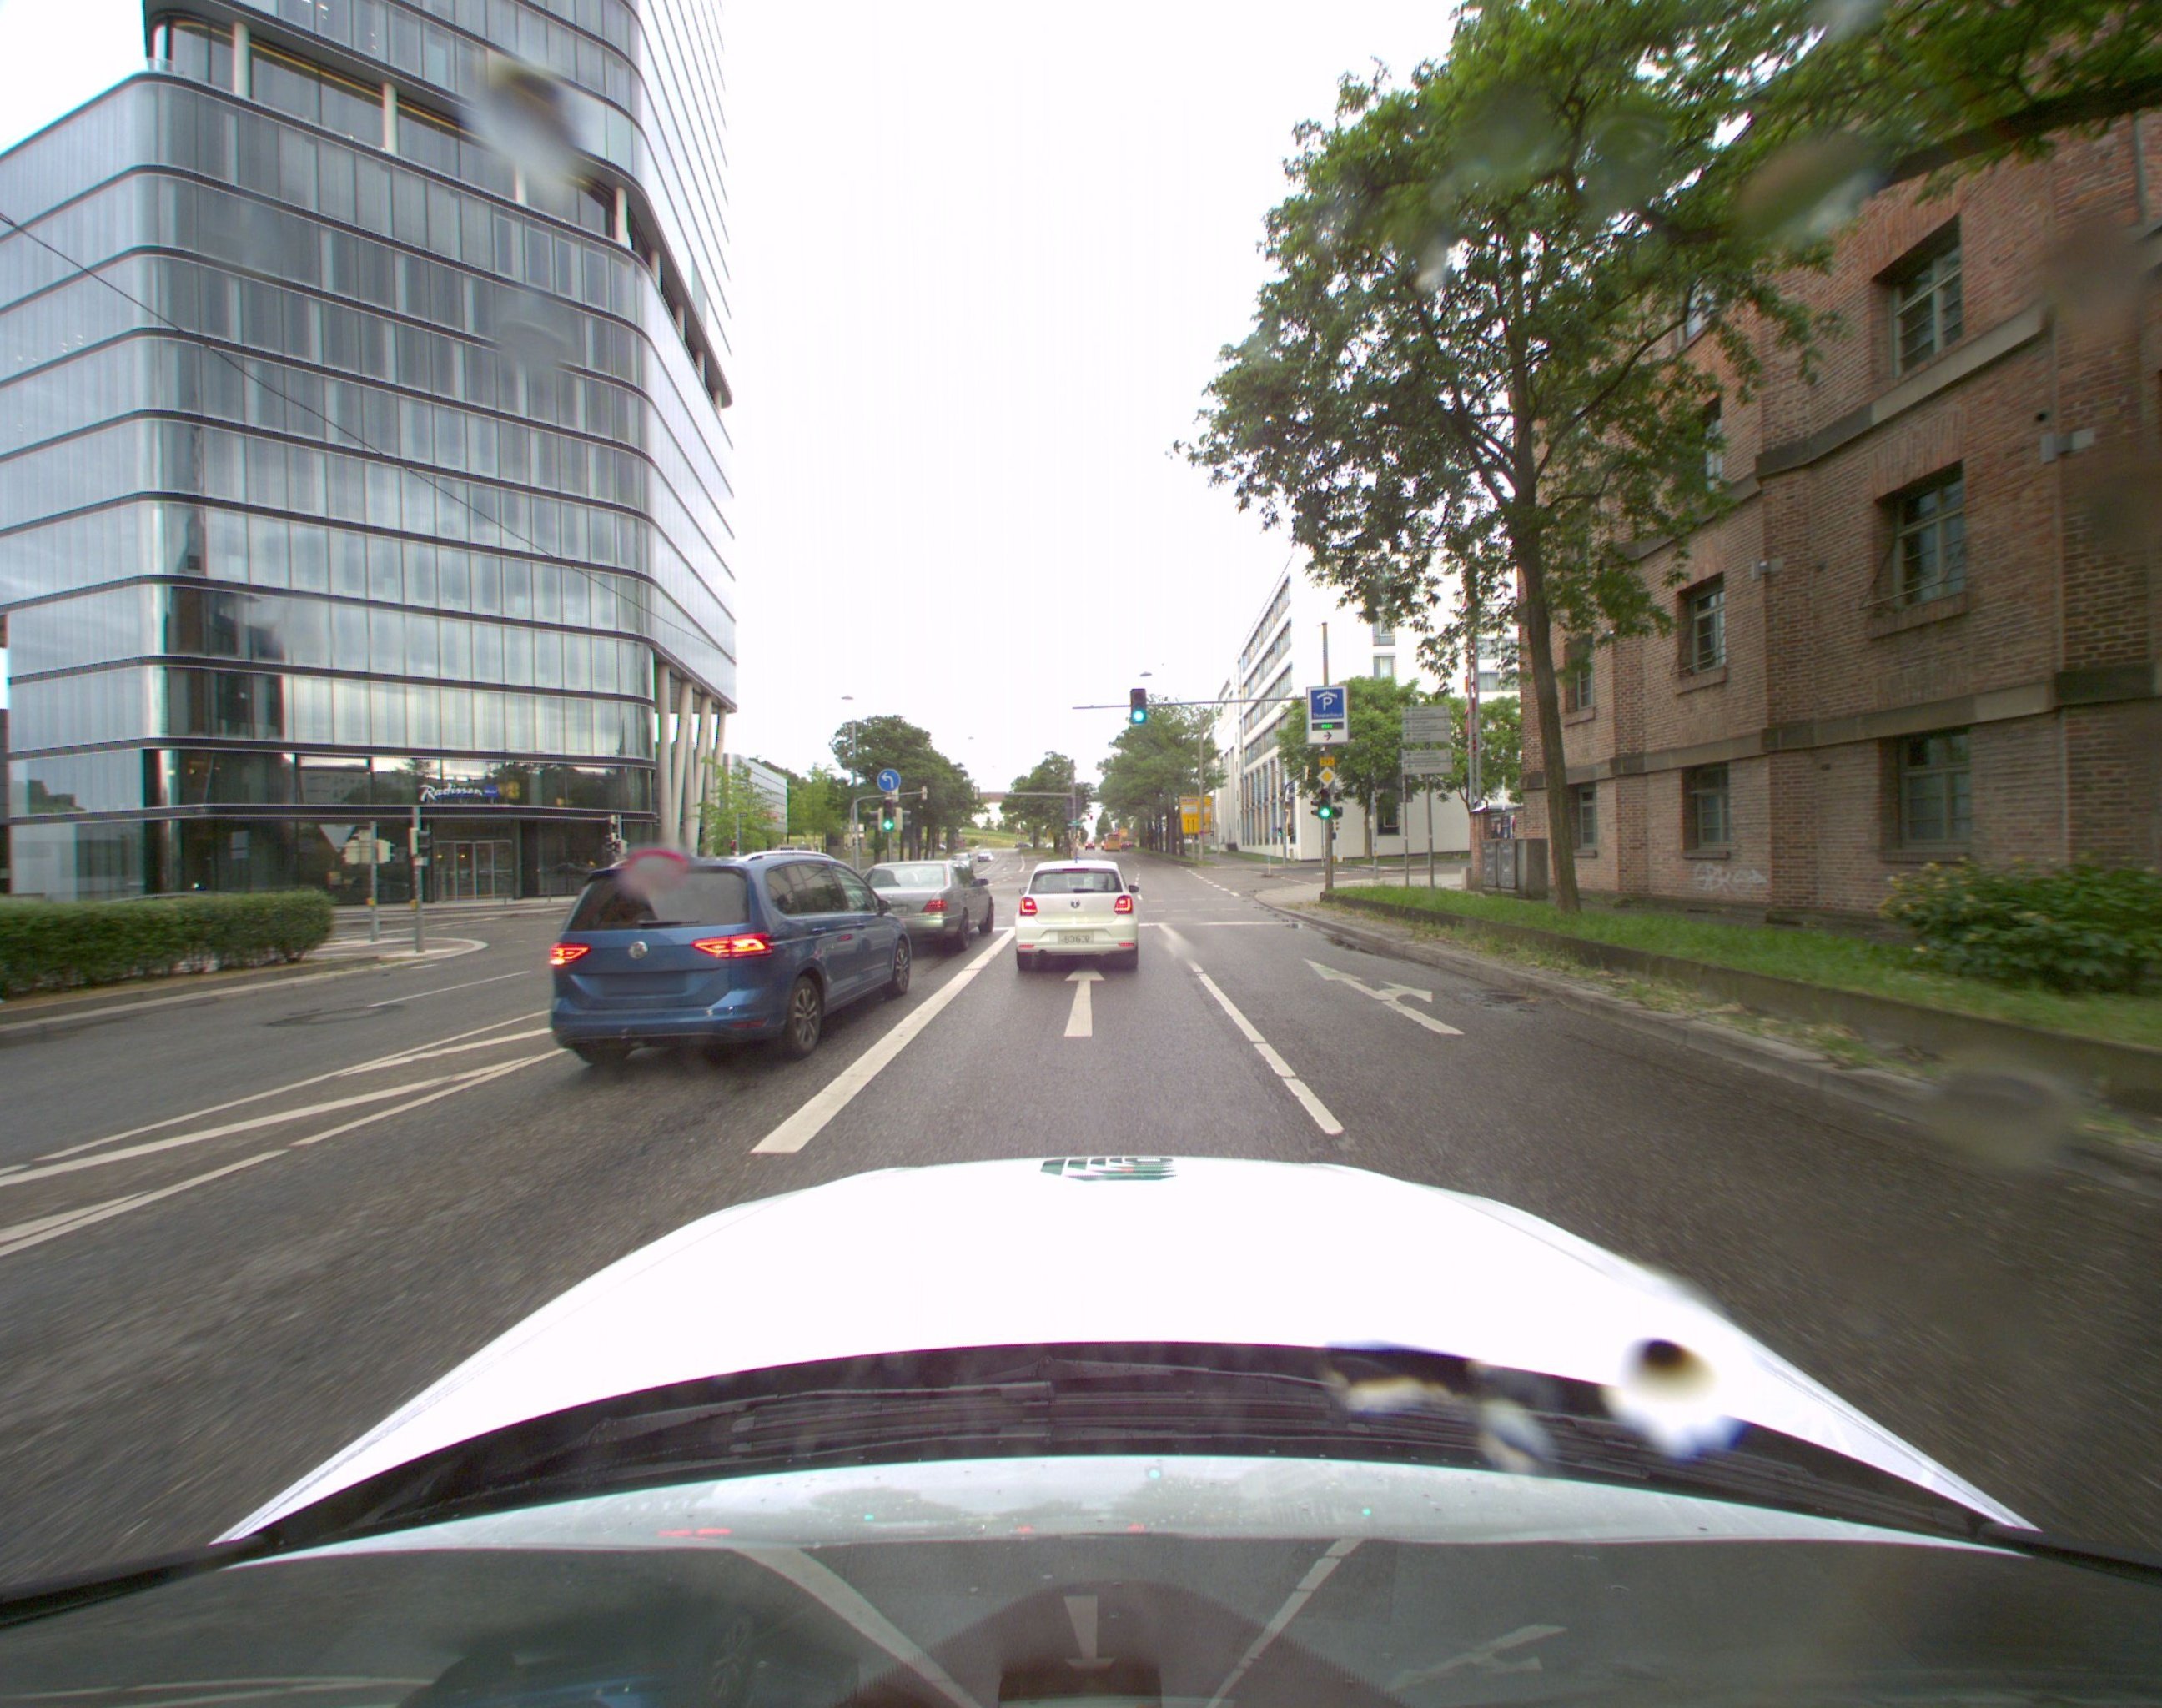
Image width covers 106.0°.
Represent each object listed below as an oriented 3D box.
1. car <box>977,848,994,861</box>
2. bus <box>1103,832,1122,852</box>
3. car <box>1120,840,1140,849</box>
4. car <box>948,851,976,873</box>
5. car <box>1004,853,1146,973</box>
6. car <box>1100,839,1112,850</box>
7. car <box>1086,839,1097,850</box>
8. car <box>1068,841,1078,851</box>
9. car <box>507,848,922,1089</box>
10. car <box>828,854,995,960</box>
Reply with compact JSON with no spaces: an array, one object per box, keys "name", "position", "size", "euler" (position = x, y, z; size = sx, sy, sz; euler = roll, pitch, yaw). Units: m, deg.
[{"name":"car","position":[-11.730,0.060,100.242],"size":[1.810,1.411,4.651],"euler":[-3,1,-3]},{"name":"bus","position":[5.434,-2.083,142.406],"size":[2.819,3.267,9.998],"euler":[-2,0,0]},{"name":"car","position":[9.378,-1.790,154.518],"size":[1.679,1.515,3.850],"euler":[-2,0,45]},{"name":"car","position":[-9.112,0.591,62.572],"size":[1.746,1.520,3.813],"euler":[-3,1,-3]},{"name":"car","position":[-0.043,0.751,12.365],"size":[1.788,1.502,4.001],"euler":[-1,0,1]},{"name":"car","position":[4.753,-1.865,155.799],"size":[1.987,2.013,3.999],"euler":[-2,0,0]},{"name":"car","position":[1.957,-1.772,154.897],"size":[1.987,2.013,3.999],"euler":[-2,0,0]},{"name":"car","position":[-1.489,-1.493,156.626],"size":[1.789,1.741,3.998],"euler":[-2,0,-1]},{"name":"car","position":[-2.934,0.783,7.686],"size":[1.765,1.596,4.201],"euler":[-2,0,3]},{"name":"car","position":[-2.741,0.791,14.176],"size":[1.839,1.510,4.051],"euler":[-2,0,2]}]
